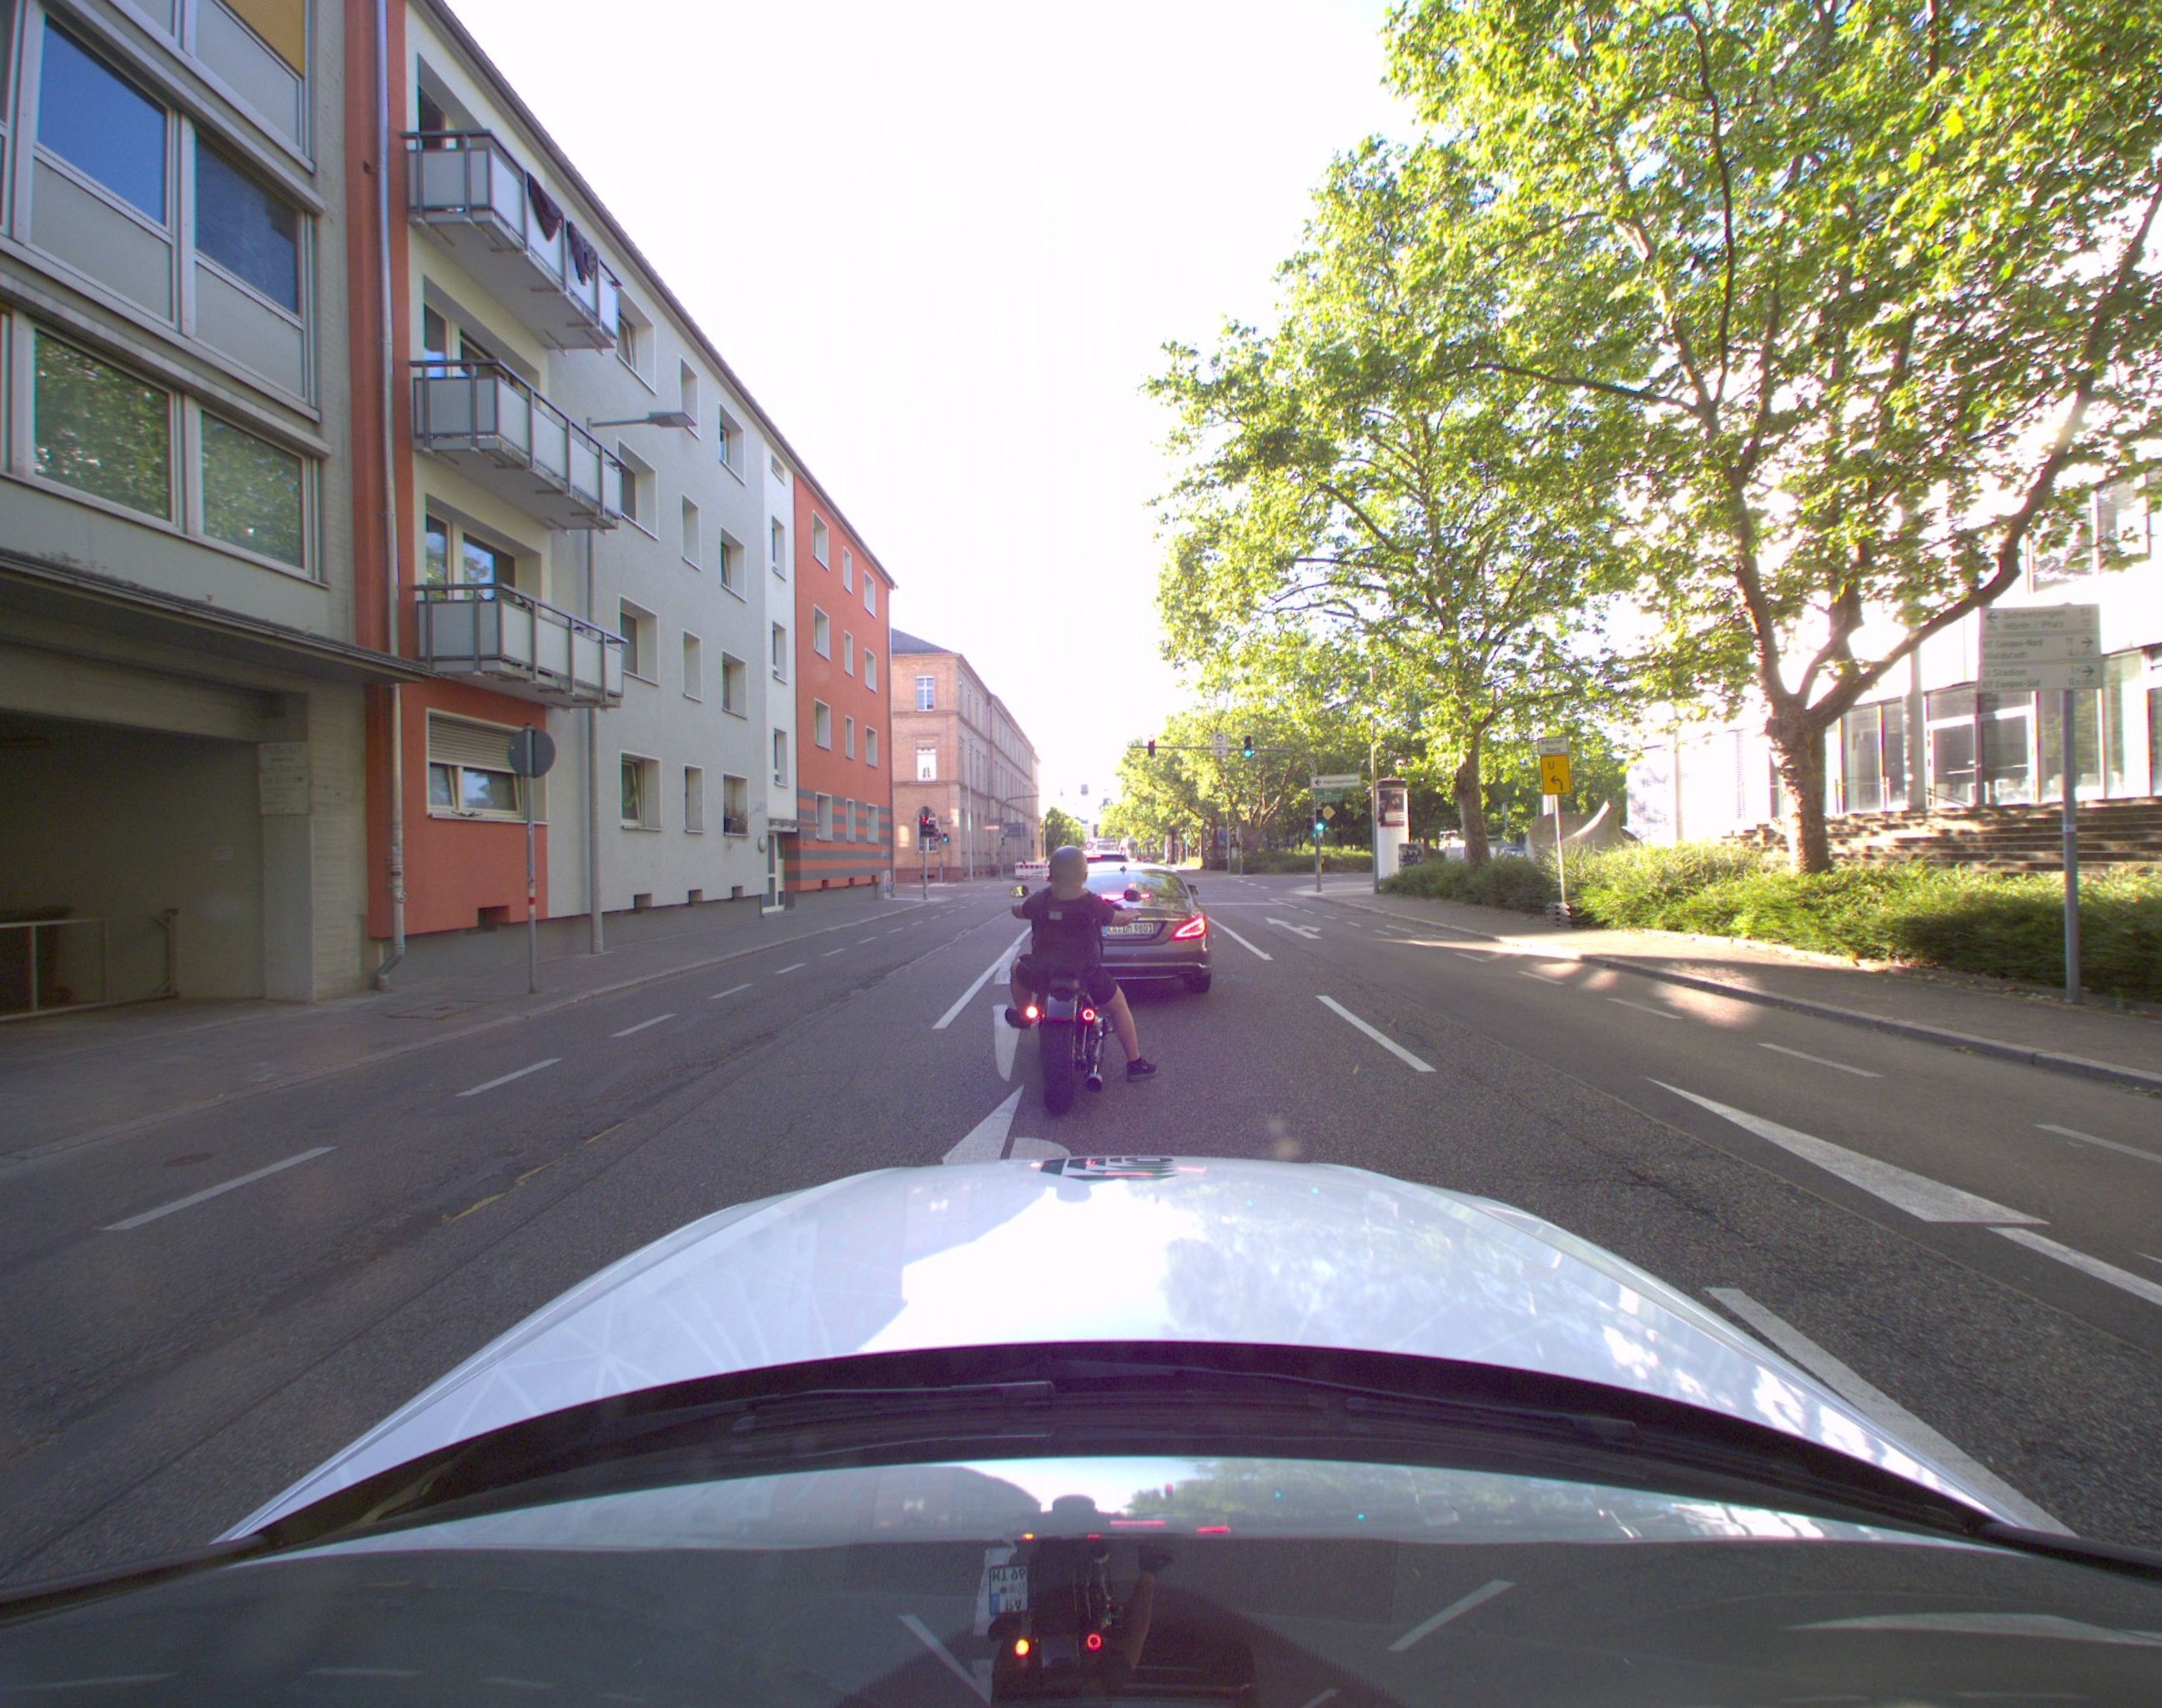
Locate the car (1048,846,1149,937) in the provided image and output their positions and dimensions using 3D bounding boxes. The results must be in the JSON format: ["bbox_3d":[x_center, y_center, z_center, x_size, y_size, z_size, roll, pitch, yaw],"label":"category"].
[{"bbox_3d":[0.380,0.711,17.068,1.856,1.678,4.001,0,-1,2],"label":"car"}]

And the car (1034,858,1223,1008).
[{"bbox_3d":[0.519,0.780,9.780,1.815,1.437,3.807,0,-1,2],"label":"car"}]

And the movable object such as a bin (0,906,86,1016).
[{"bbox_3d":[-11.285,1.116,8.648,0.533,1.079,0.723,0,-1,3],"label":"movable object such as a bin"}]

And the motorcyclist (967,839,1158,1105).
[{"bbox_3d":[-0.071,0.704,5.404,1.093,1.566,1.074,0,-1,8],"label":"motorcyclist"}]

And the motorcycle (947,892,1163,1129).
[{"bbox_3d":[-0.043,0.912,5.623,1.111,1.207,2.217,0,-1,8],"label":"motorcycle"}]

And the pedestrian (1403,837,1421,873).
[{"bbox_3d":[16.657,0.040,41.032,0.730,1.778,0.732,-1,-1,13],"label":"pedestrian"}]
